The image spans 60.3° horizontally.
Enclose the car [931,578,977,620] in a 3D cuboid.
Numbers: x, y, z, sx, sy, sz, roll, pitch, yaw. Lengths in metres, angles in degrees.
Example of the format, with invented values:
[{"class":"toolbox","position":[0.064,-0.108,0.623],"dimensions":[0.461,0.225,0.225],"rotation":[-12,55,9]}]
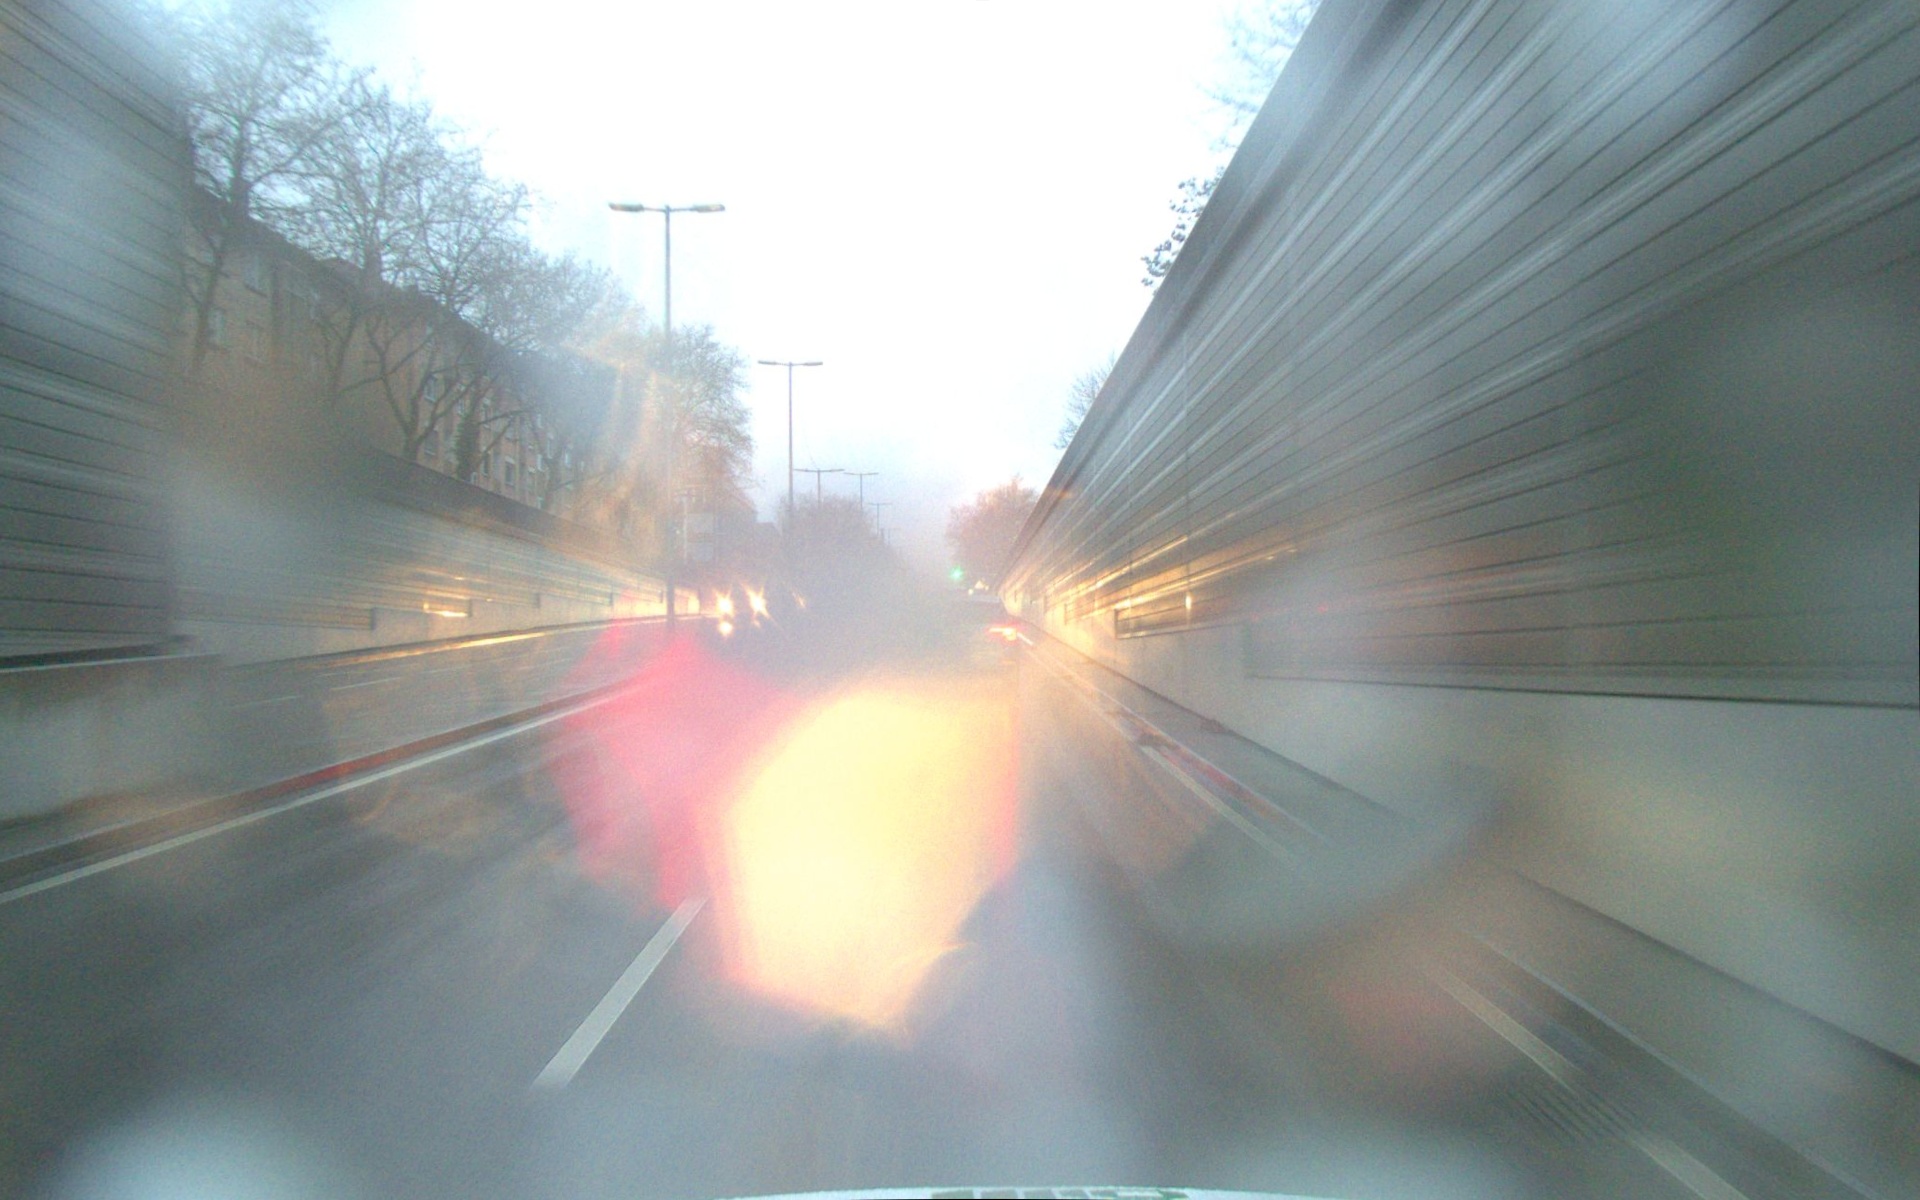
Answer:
[{"class":"car","position":[-0.285,-0.009,71.650],"dimensions":[1.842,1.649,3.997],"rotation":[1,-2,-2]}]

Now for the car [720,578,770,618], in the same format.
[{"class":"car","position":[-8.439,-0.104,65.160],"dimensions":[1.540,1.496,3.686],"rotation":[-1,1,-1]}]

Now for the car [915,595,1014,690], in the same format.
[{"class":"car","position":[0.060,0.677,26.863],"dimensions":[1.500,1.422,3.433],"rotation":[1,-1,0]}]
